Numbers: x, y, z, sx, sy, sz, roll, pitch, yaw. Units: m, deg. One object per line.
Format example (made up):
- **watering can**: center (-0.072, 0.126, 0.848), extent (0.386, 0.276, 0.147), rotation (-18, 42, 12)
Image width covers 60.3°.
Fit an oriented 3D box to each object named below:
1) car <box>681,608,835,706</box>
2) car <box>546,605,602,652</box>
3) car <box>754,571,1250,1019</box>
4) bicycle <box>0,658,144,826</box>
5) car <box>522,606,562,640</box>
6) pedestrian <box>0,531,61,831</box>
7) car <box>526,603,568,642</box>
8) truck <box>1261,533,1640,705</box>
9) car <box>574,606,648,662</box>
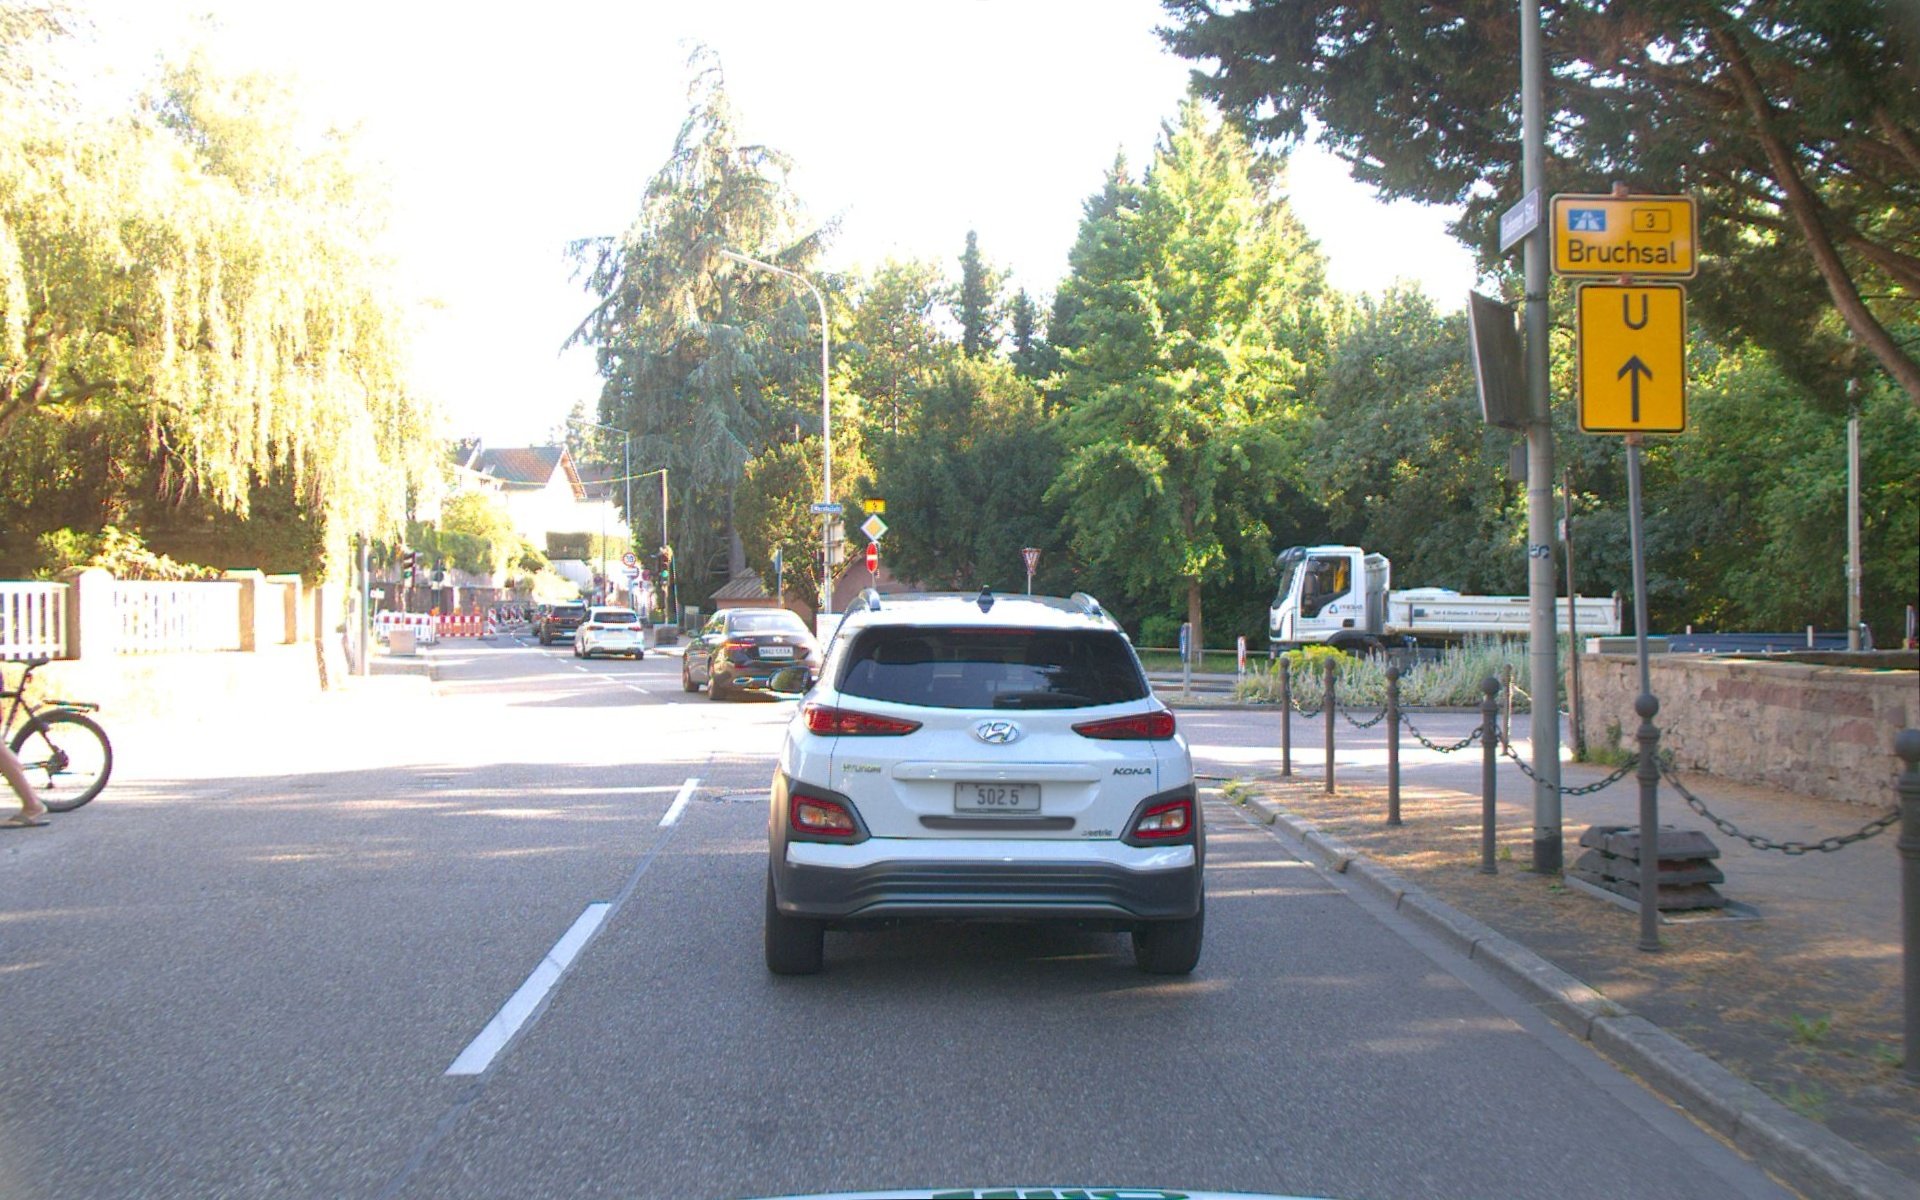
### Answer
- **car**: center (-3.436, 0.894, 27.504), extent (1.682, 1.459, 4.341), rotation (2, 0, -19)
- **car**: center (-14.925, 1.072, 63.821), extent (1.803, 1.691, 3.980), rotation (2, 0, -17)
- **car**: center (0.136, 0.723, 8.062), extent (1.783, 1.601, 3.999), rotation (1, 0, -1)
- **bicycle**: center (-6.480, 0.934, 11.003), extent (1.799, 1.061, 0.554), rotation (2, 1, -38)
- **car**: center (-21.690, 1.186, 85.732), extent (1.802, 1.691, 3.981), rotation (1, 0, -17)
- **pedestrian**: center (-6.234, 0.495, 10.363), extent (0.934, 1.858, 0.547), rotation (2, 0, -39)
- **car**: center (-19.795, 1.077, 79.253), extent (1.802, 1.771, 3.983), rotation (2, 0, -16)
- **truck**: center (9.097, 0.338, 31.233), extent (6.448, 2.945, 2.434), rotation (1, 0, 5)
- **car**: center (-10.544, 1.007, 49.801), extent (1.777, 1.564, 3.980), rotation (2, 0, -18)
